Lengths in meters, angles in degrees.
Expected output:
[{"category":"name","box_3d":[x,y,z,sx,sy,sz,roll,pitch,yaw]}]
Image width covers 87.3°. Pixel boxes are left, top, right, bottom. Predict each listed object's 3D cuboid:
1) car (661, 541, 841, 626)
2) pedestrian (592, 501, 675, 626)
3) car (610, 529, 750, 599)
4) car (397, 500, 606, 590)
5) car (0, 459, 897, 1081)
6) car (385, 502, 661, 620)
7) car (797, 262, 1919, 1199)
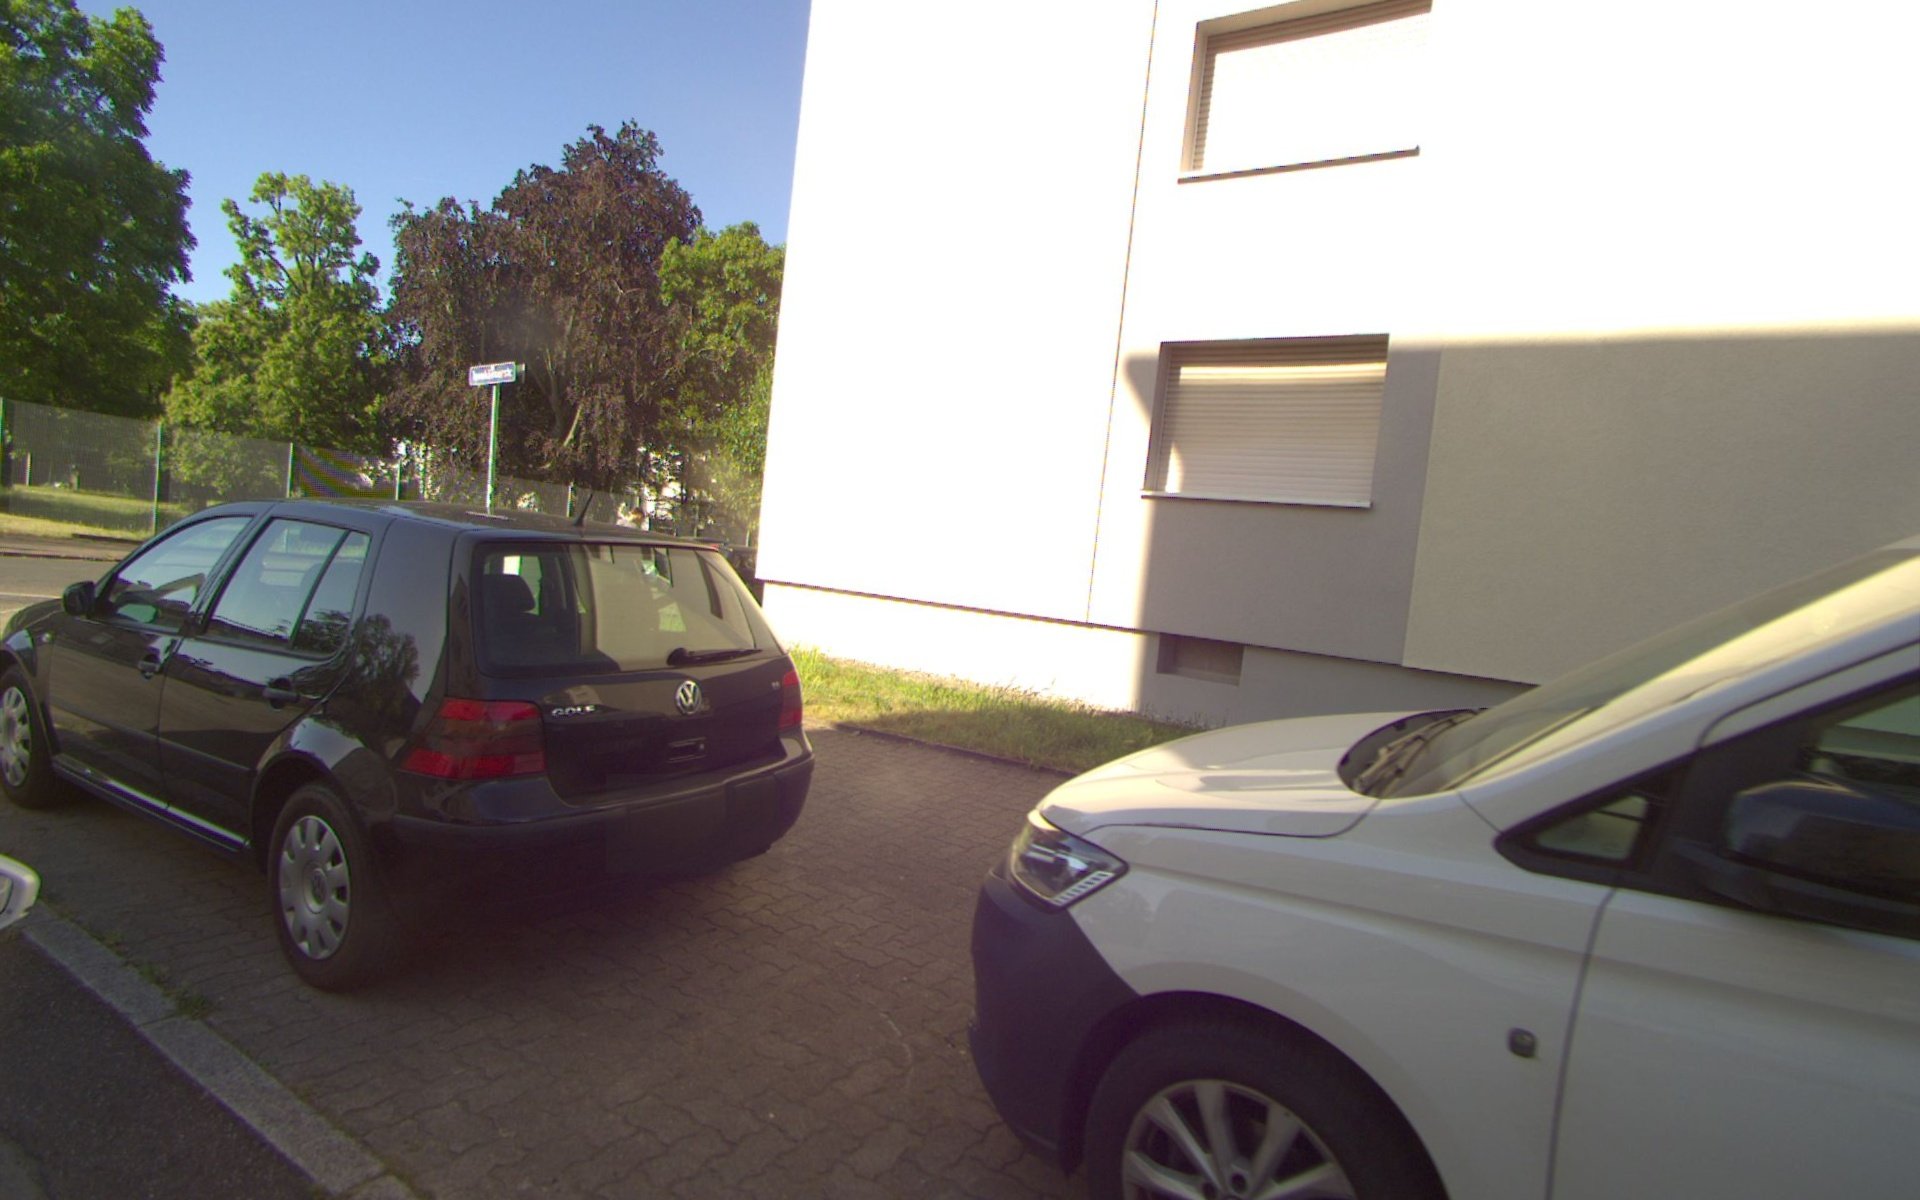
[{"category":"car","box_3d":[-4.445,-0.306,21.910,1.583,1.504,3.787,8,2,31]},{"category":"pedestrian","box_3d":[-4.961,-0.545,15.323,0.636,1.795,0.838,8,3,31]},{"category":"car","box_3d":[-7.724,-0.961,28.025,1.543,1.664,3.606,3,0,31]},{"category":"car","box_3d":[-10.536,-1.217,23.439,1.690,1.685,4.153,4,0,31]},{"category":"car","box_3d":[-2.445,0.263,4.256,3.982,1.435,1.796,7,5,32]},{"category":"car","box_3d":[-7.297,-0.588,17.215,1.596,1.568,4.075,7,1,31]},{"category":"car","box_3d":[2.028,0.576,1.729,4.466,1.872,1.795,7,5,34]}]
